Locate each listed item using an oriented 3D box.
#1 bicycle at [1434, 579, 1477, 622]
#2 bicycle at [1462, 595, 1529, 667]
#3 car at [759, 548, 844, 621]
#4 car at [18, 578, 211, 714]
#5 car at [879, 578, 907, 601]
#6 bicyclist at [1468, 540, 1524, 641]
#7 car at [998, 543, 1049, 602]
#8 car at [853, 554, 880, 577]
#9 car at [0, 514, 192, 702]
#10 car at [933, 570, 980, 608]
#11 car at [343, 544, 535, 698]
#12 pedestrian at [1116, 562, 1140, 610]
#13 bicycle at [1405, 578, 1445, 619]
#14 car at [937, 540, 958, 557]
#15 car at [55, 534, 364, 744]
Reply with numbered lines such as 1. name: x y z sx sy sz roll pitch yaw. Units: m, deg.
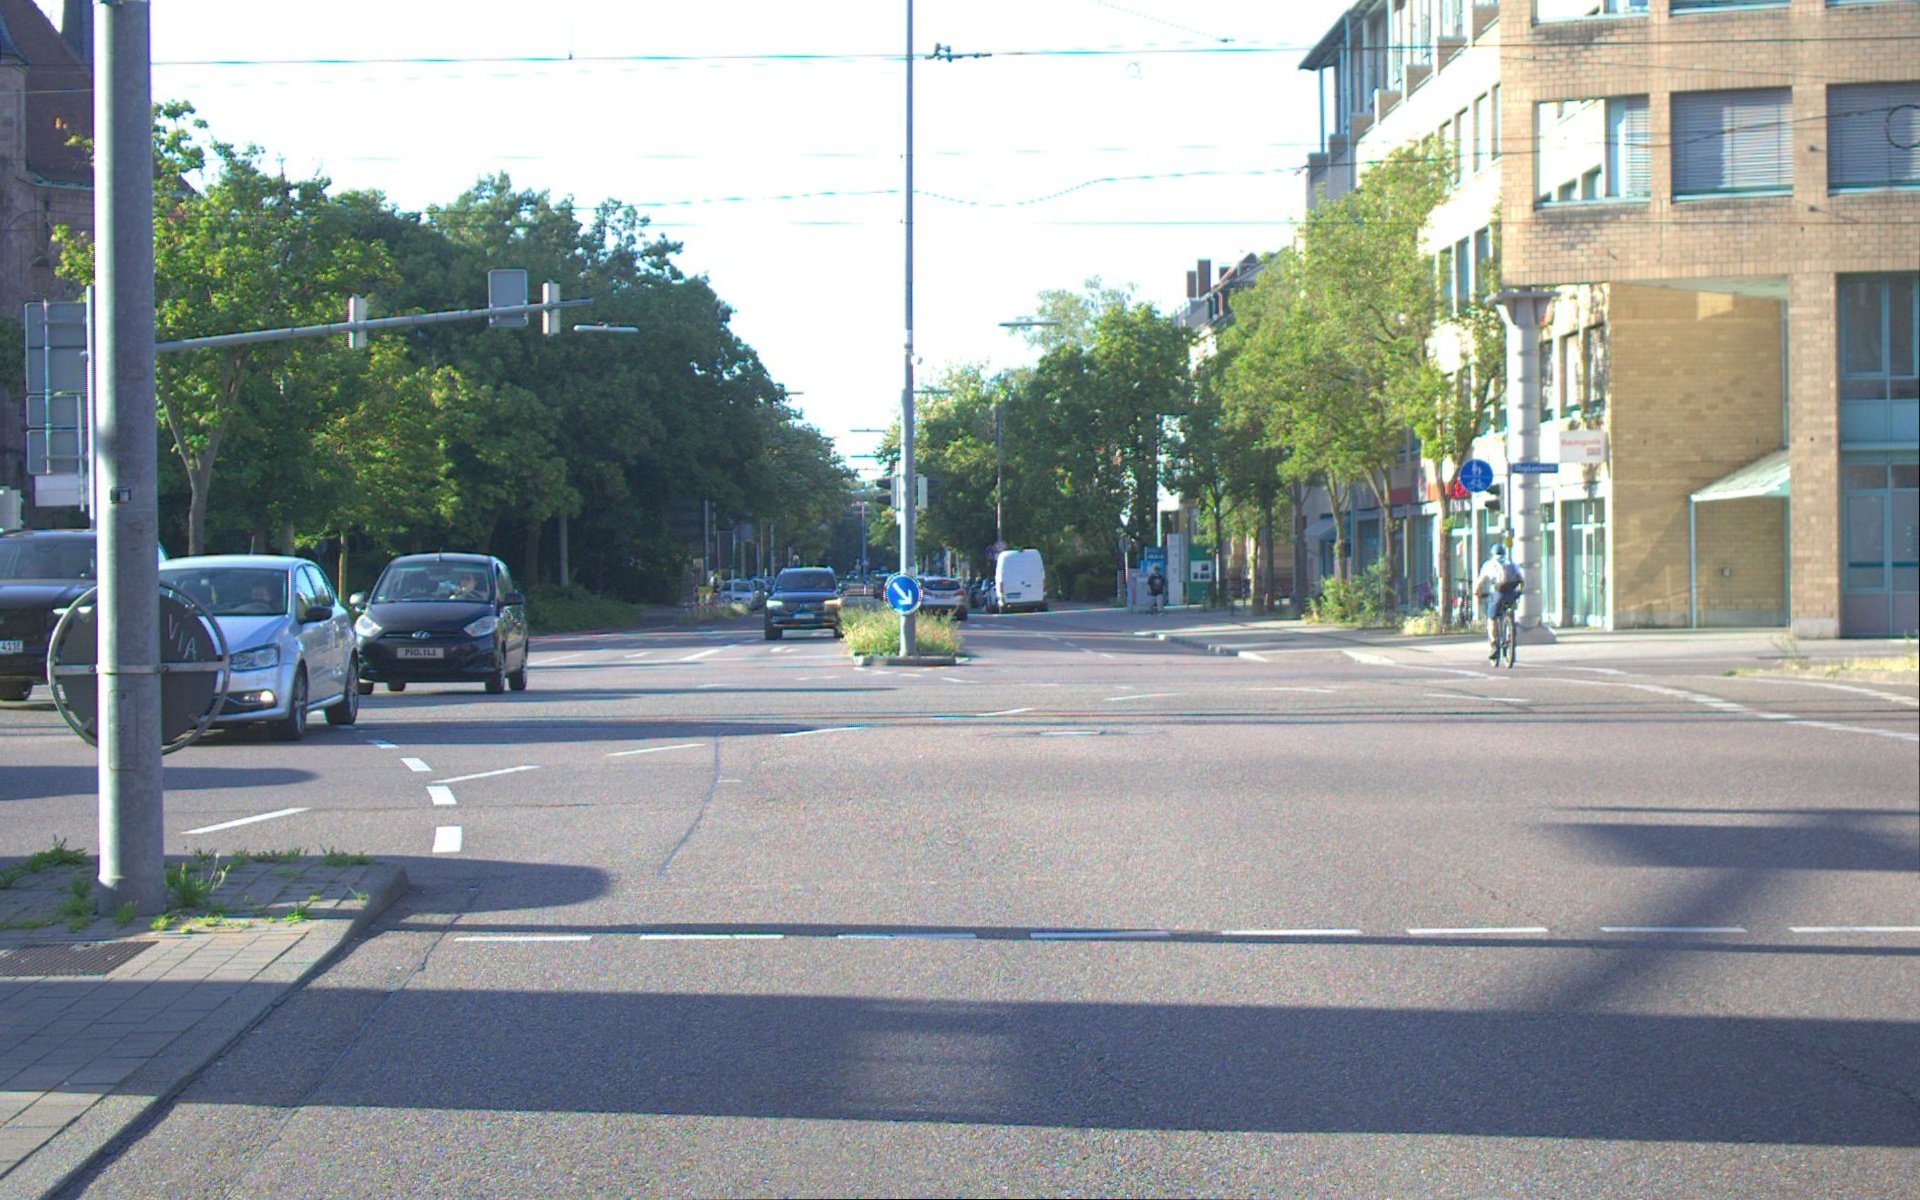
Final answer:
1. bicycle: 11.551 -0.001 80.134 0.646 0.991 2.081 0 0 -1
2. bicycle: 7.405 0.417 47.604 0.592 0.940 1.978 1 1 -1
3. car: -3.884 -0.354 84.927 1.993 1.718 5.031 -1 0 -1
4. car: -10.679 0.550 43.614 1.578 1.539 3.477 -2 1 -1
5. car: -3.837 -0.628 196.908 1.594 1.263 3.266 0 1 0
6. bicyclist: 7.402 -0.141 47.468 0.592 1.364 0.930 1 1 0
7. car: 2.668 -1.155 144.479 1.993 2.432 4.000 1 0 0
8. car: -6.814 -2.533 251.145 1.886 1.665 4.000 1 1 0
9. car: -9.027 0.038 33.974 1.816 1.705 4.786 -2 1 -1
10. car: -0.133 -0.382 118.798 1.594 1.263 3.266 0 1 0
11. car: -5.673 0.194 37.736 1.578 1.539 3.477 -2 1 -1
12. pedestrian: 6.380 -0.546 130.590 0.847 1.797 0.776 0 1 -1
13. bicycle: 11.457 -0.047 84.714 0.646 0.991 2.081 0 0 -1
14. car: -0.930 -3.811 254.905 1.594 1.263 3.266 0 1 0
15. car: -5.909 0.256 27.477 1.675 1.539 3.806 0 1 -1
